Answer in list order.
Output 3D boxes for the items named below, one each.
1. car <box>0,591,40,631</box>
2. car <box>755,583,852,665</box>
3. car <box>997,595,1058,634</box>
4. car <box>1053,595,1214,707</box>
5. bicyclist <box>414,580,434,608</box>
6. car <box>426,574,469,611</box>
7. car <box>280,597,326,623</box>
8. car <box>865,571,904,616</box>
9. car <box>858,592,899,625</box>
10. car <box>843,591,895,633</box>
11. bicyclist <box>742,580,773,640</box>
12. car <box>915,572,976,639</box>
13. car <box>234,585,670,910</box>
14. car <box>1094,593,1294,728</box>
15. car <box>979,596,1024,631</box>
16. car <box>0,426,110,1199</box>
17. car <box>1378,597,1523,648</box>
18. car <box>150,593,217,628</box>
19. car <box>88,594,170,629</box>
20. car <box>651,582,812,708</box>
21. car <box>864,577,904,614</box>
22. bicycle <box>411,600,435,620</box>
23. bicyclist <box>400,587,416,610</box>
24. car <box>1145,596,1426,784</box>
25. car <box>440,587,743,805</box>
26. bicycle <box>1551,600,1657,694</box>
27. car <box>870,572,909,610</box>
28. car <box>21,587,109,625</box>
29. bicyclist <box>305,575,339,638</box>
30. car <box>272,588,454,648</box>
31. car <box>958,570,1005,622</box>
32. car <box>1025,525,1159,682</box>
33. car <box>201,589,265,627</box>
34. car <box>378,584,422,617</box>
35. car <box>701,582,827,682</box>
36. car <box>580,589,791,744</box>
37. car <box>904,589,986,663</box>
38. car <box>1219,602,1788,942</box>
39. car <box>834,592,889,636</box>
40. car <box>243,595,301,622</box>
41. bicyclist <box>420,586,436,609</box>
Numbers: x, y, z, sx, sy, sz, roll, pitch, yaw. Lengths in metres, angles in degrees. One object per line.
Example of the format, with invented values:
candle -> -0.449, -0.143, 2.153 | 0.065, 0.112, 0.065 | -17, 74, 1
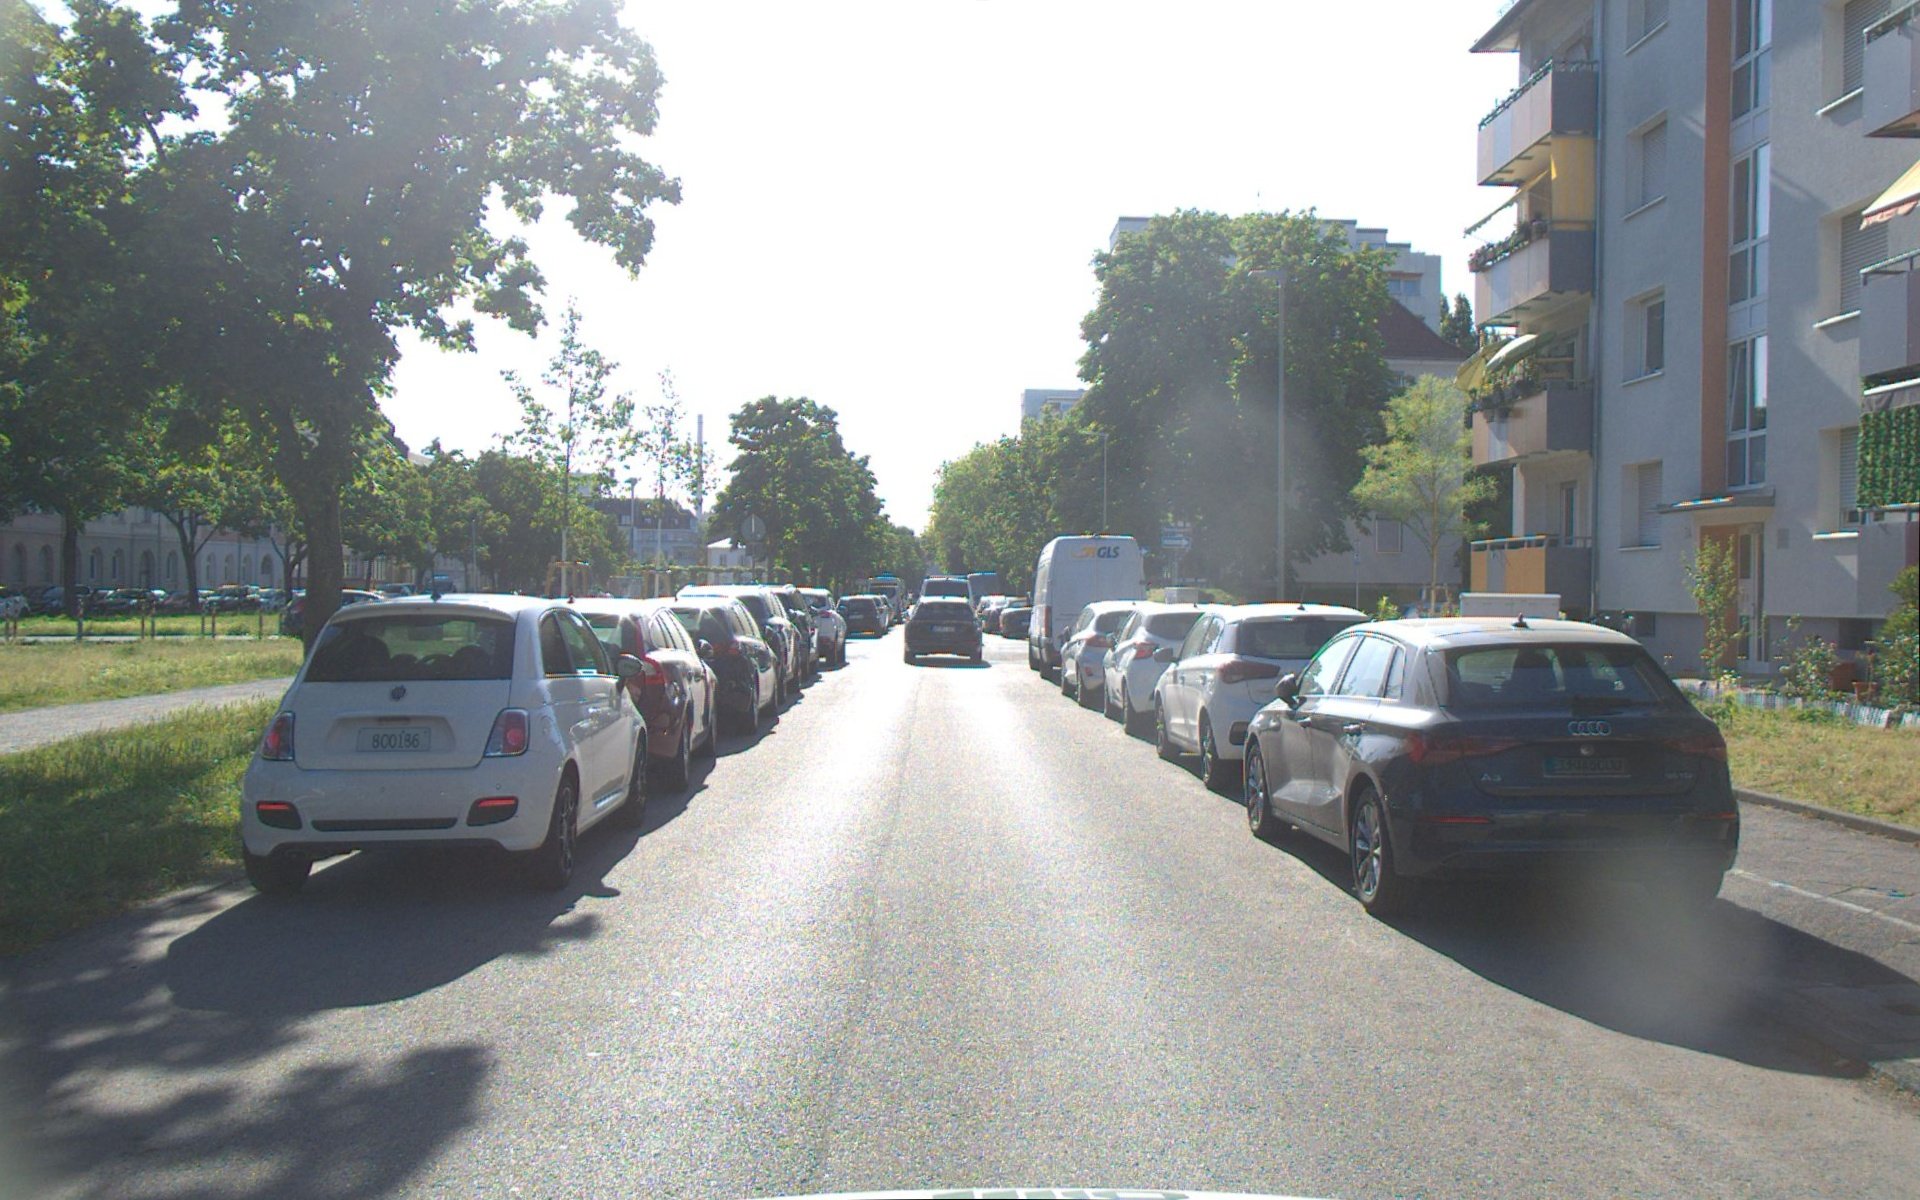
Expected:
car -> -38.241, 0.420, 65.350 | 1.660, 1.553, 4.078 | 1, 0, -4
car -> -3.437, 0.498, 36.928 | 1.720, 1.676, 4.287 | -1, 0, 0
car -> 2.530, 0.523, 62.931 | 2.082, 1.361, 4.506 | -2, 0, 0
car -> 2.540, 0.710, 25.144 | 1.812, 1.491, 4.200 | 1, 0, -3
bicyclist -> -35.771, -0.407, 110.343 | 0.922, 1.869, 1.449 | 0, -1, -2
car -> -40.025, -0.571, 129.198 | 1.877, 2.792, 5.621 | 1, 0, -4
car -> -39.081, 0.589, 98.429 | 1.352, 1.465, 3.341 | 1, 0, 0
car -> -4.367, -0.364, 96.180 | 2.055, 2.540, 4.126 | 1, 0, 0
car -> -3.990, 0.398, 81.310 | 1.795, 1.526, 4.126 | 1, 0, 0
car -> -3.453, 0.471, 63.593 | 1.741, 1.521, 3.874 | -1, 0, 0
bicyclist -> -5.575, 0.278, 45.528 | 0.773, 1.624, 0.695 | 1, 0, -4
car -> -0.449, 0.159, 53.526 | 1.855, 2.026, 4.010 | -1, 0, 0
car -> -2.755, 0.696, 9.780 | 1.555, 1.518, 3.683 | -1, 0, -3
car -> 2.773, 0.667, 20.463 | 1.839, 1.501, 4.139 | 0, 0, -1
car -> 1.698, 0.548, 68.868 | 1.743, 1.395, 4.126 | 1, 0, 0
car -> -2.675, 0.565, 0.974 | 1.826, 1.816, 4.990 | 0, 0, -1
car -> 14.637, 0.659, 49.448 | 3.811, 1.454, 1.657 | 0, 0, -5
car -> -38.666, 0.502, 82.418 | 1.599, 1.716, 4.078 | 1, 0, -4
car -> -38.571, 0.520, 76.866 | 1.721, 1.576, 4.525 | 1, 0, -4
car -> -3.256, 0.586, 24.413 | 1.782, 1.638, 4.738 | -1, 0, -1
car -> -4.091, -0.246, 89.775 | 2.056, 1.976, 4.126 | 1, 0, -1
bicycle -> -35.820, 0.645, 110.285 | 0.794, 1.274, 2.633 | 3, -1, -3
bicyclist -> -35.756, -0.105, 107.219 | 0.723, 1.463, 0.942 | 1, 0, -1
car -> 2.793, 0.702, 15.087 | 1.686, 1.460, 4.152 | 0, 0, -1
car -> -2.949, 0.676, 14.219 | 1.720, 1.518, 4.666 | -1, 0, -3
bicycle -> 8.625, 0.629, 22.241 | 0.584, 1.197, 2.013 | 1, -1, -2
car -> -5.160, -0.678, 121.621 | 2.563, 2.691, 6.114 | 1, 0, 0
car -> -38.180, 0.238, 70.698 | 1.599, 1.576, 4.352 | 1, 0, -4
bicyclist -> -17.601, 0.186, 45.617 | 0.864, 1.720, 0.628 | 0, 0, -21
car -> -15.392, 0.451, 42.662 | 4.280, 1.433, 1.905 | 0, 2, -26
car -> 1.133, -0.211, 90.403 | 2.120, 2.736, 5.412 | 0, 0, -4
car -> 2.504, 0.045, 33.114 | 2.099, 2.760, 6.841 | -1, 0, 0
car -> -38.844, 0.409, 88.460 | 1.702, 1.941, 4.458 | 0, 0, -4
car -> -39.492, 0.052, 116.756 | 1.660, 2.252, 5.005 | 1, 0, -4
car -> -3.520, 0.530, 30.495 | 1.805, 1.667, 4.714 | -1, 0, -1
car -> -3.071, 0.676, 19.387 | 1.836, 1.546, 4.468 | -2, 0, -2
car -> -0.318, 0.565, 38.042 | 1.743, 1.558, 4.000 | 2, 0, 0
car -> 2.799, 0.768, 9.656 | 1.665, 1.460, 4.469 | -1, 0, -3
car -> -3.481, 0.501, 59.071 | 1.712, 1.449, 3.916 | -2, -1, 0
car -> -38.966, 0.467, 93.744 | 1.659, 1.454, 3.774 | 1, 0, 0
bicyclist -> -34.582, -0.151, 107.557 | 0.723, 1.463, 0.942 | 1, 0, -2
